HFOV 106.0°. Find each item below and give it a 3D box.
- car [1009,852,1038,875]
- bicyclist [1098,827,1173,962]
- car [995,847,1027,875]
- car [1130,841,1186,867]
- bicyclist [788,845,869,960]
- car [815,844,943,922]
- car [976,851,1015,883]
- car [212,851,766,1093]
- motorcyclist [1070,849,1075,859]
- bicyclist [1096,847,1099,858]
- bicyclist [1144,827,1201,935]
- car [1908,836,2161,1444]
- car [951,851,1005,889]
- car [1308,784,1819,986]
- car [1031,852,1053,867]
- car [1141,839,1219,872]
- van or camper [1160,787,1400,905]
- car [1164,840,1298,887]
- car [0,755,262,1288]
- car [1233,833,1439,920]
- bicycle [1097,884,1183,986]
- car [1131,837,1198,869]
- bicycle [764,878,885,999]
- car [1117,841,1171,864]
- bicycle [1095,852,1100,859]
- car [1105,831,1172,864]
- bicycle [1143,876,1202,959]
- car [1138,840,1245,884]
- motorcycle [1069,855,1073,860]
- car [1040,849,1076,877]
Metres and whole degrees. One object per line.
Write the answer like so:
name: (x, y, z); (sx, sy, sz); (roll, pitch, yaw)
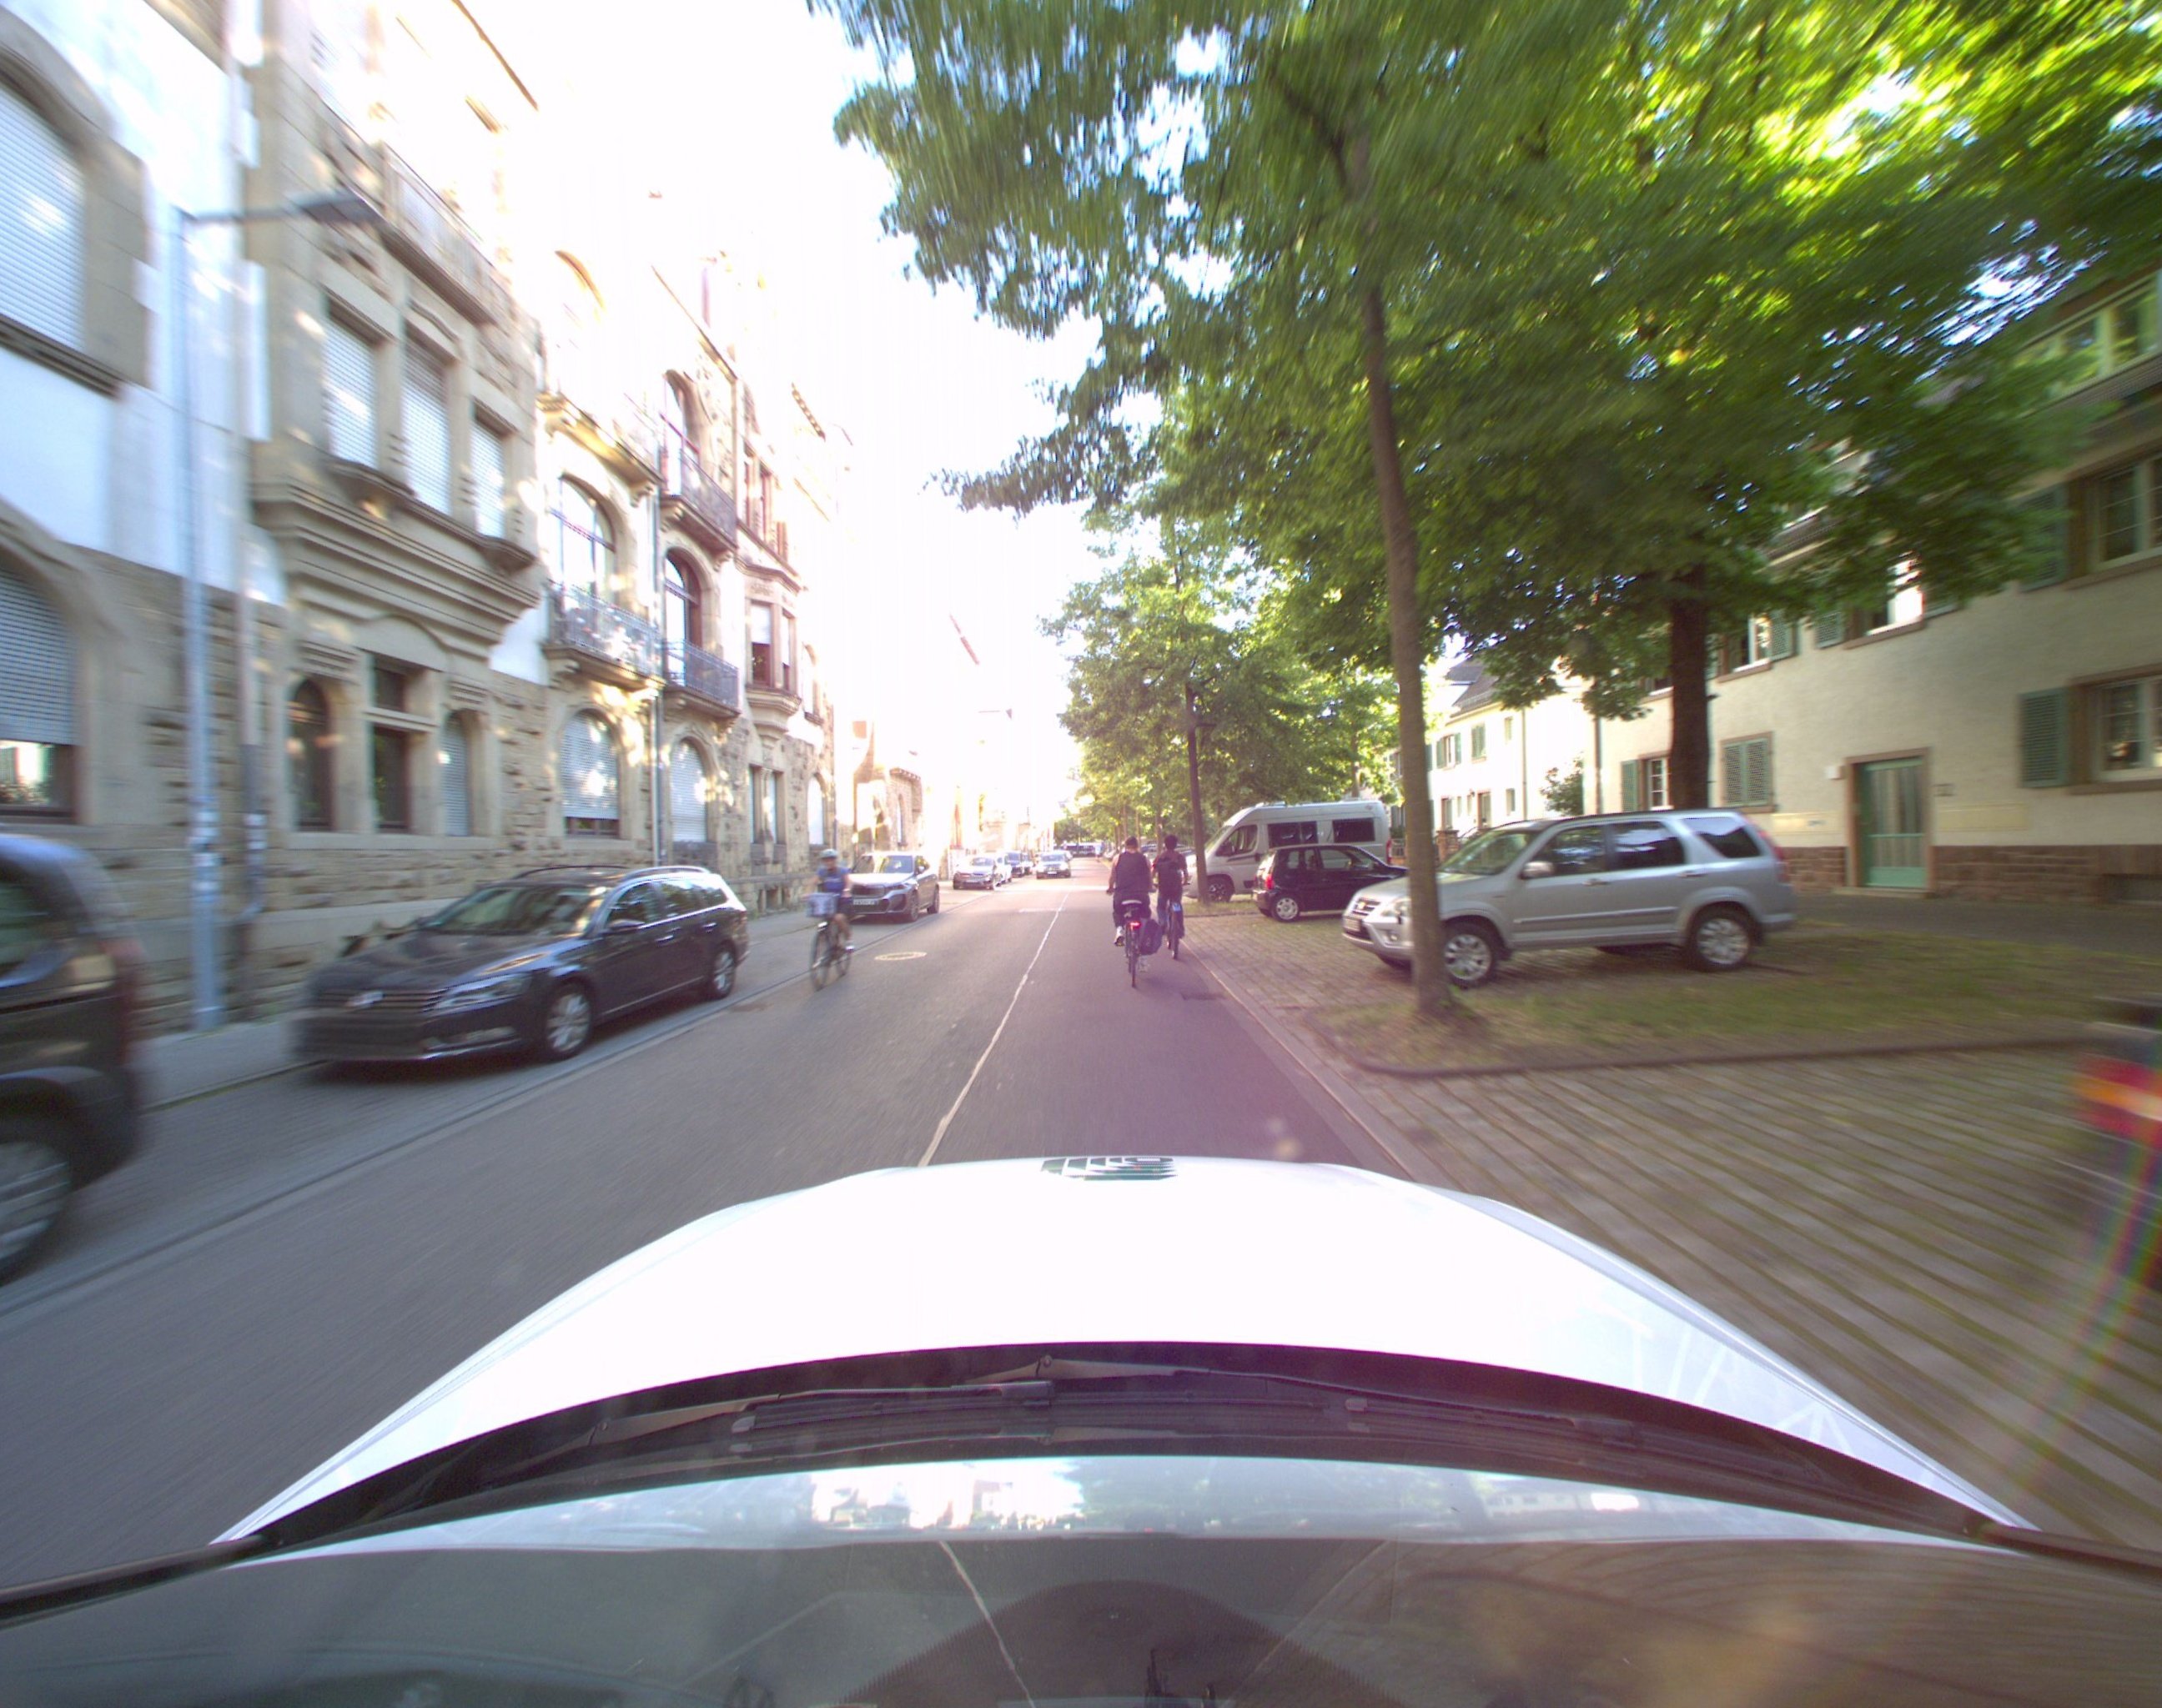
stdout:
car: (-3.956, 0.623, 56.613); (1.610, 1.482, 4.018); (2, 0, 1)
bicyclist: (0.638, 0.473, 9.826); (0.705, 1.527, 0.970); (-1, -1, -6)
car: (-4.325, 0.463, 50.958); (1.626, 1.665, 3.967); (-2, -1, 0)
car: (6.049, 0.024, 64.287); (4.227, 1.797, 1.855); (-3, -1, 1)
bicyclist: (-3.155, 0.573, 10.283); (0.663, 1.345, 1.059); (-3, 1, -3)
car: (-4.705, 0.652, 19.682); (2.044, 1.622, 4.392); (-1, -1, -1)
car: (-4.331, 0.628, 41.494); (1.486, 1.517, 3.775); (2, 0, 1)
car: (-4.877, 0.819, 7.798); (1.723, 1.574, 4.710); (-2, -1, 2)
motorcyclist: (-1.228, 0.029, 118.802); (0.549, 1.448, 0.688); (-2, 0, -2)
bicyclist: (2.059, -0.213, 102.784); (0.415, 1.350, 0.430); (-1, -1, 0)
bicyclist: (1.350, 0.397, 12.170); (0.716, 1.527, 0.972); (-1, -1, 0)
car: (5.009, 0.547, 1.576); (4.880, 1.442, 1.941); (-4, -1, -2)
car: (-4.462, 0.659, 35.935); (1.749, 1.517, 4.114); (2, 0, 1)
car: (5.051, 0.282, 9.000); (4.463, 1.669, 1.941); (-4, 1, -2)
car: (-3.899, 0.553, 82.596); (1.987, 1.486, 3.998); (-2, -1, -1)
car: (5.610, 0.113, 46.440); (4.227, 1.647, 1.855); (-3, -1, 1)
van or camper: (5.023, -0.191, 21.226); (5.559, 2.536, 2.267); (-4, -1, -2)
car: (5.304, 0.347, 29.260); (4.485, 1.453, 1.817); (-2, -1, 1)
car: (-4.961, 0.636, 1.713); (1.963, 1.974, 4.495); (0, 0, -1)
car: (4.937, 0.429, 16.124); (3.490, 1.472, 1.751); (-3, -1, -1)
bicycle: (0.679, 0.931, 10.062); (0.695, 1.073, 1.964); (-1, -1, -6)
car: (5.475, -0.060, 53.854); (4.227, 1.840, 1.855); (-3, -1, 1)
bicycle: (-3.144, 0.970, 10.296); (0.751, 1.178, 2.618); (-3, 1, -3)
car: (5.747, -0.141, 74.479); (4.739, 1.780, 1.855); (-3, -1, 1)
bicycle: (2.054, 0.155, 102.813); (0.539, 0.828, 1.919); (-1, -1, 1)
car: (6.375, -0.713, 91.191); (7.306, 3.282, 2.224); (-3, -1, 1)
bicycle: (1.330, 0.897, 12.189); (0.554, 1.073, 1.967); (-1, 0, -2)
car: (4.632, 0.359, 34.559); (4.233, 1.606, 1.752); (-3, -1, -3)
motorcycle: (-1.424, 0.516, 118.658); (0.549, 0.801, 1.307); (-2, 0, -2)
car: (-1.328, 0.506, 46.601); (1.892, 1.486, 4.377); (-1, -1, -2)
